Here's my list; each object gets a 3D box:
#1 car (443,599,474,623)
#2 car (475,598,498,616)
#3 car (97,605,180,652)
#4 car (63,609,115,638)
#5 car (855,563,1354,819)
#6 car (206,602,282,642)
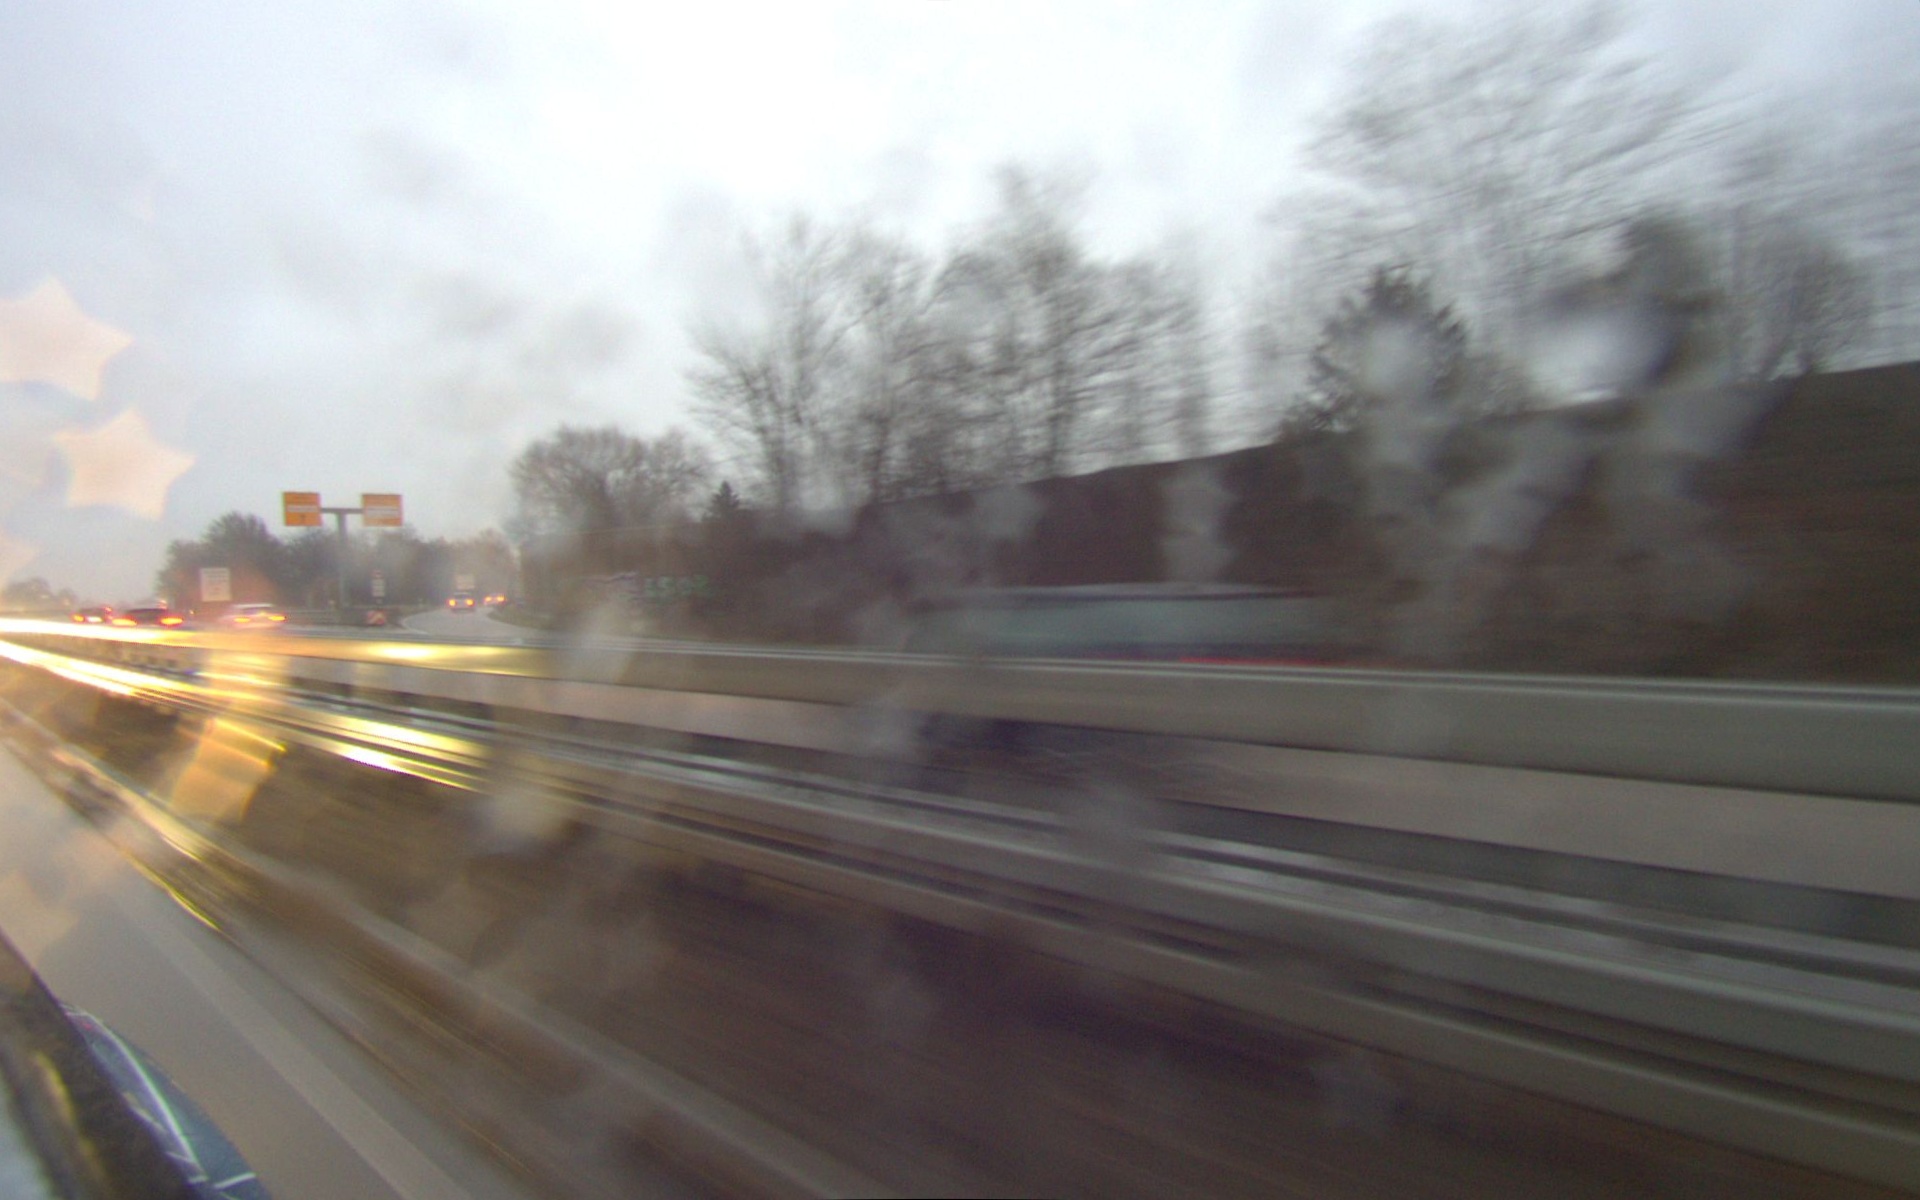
[{"bbox_3d":[-42.788,0.923,86.421,1.965,1.928,4.460,-2,1,-22],"label":"car"},{"bbox_3d":[-53.265,0.779,113.907,1.965,1.928,4.460,-2,1,-21],"label":"car"},{"bbox_3d":[-29.288,0.979,36.023,4.598,1.495,1.599,-1,1,42],"label":"car"},{"bbox_3d":[-47.914,1.274,55.632,3.843,1.506,1.718,-1,1,43],"label":"car"},{"bbox_3d":[0.987,0.543,7.855,3.503,1.530,1.636,-1,1,42],"label":"car"},{"bbox_3d":[-31.203,0.936,44.047,4.850,1.578,1.686,-1,1,42],"label":"car"}]
